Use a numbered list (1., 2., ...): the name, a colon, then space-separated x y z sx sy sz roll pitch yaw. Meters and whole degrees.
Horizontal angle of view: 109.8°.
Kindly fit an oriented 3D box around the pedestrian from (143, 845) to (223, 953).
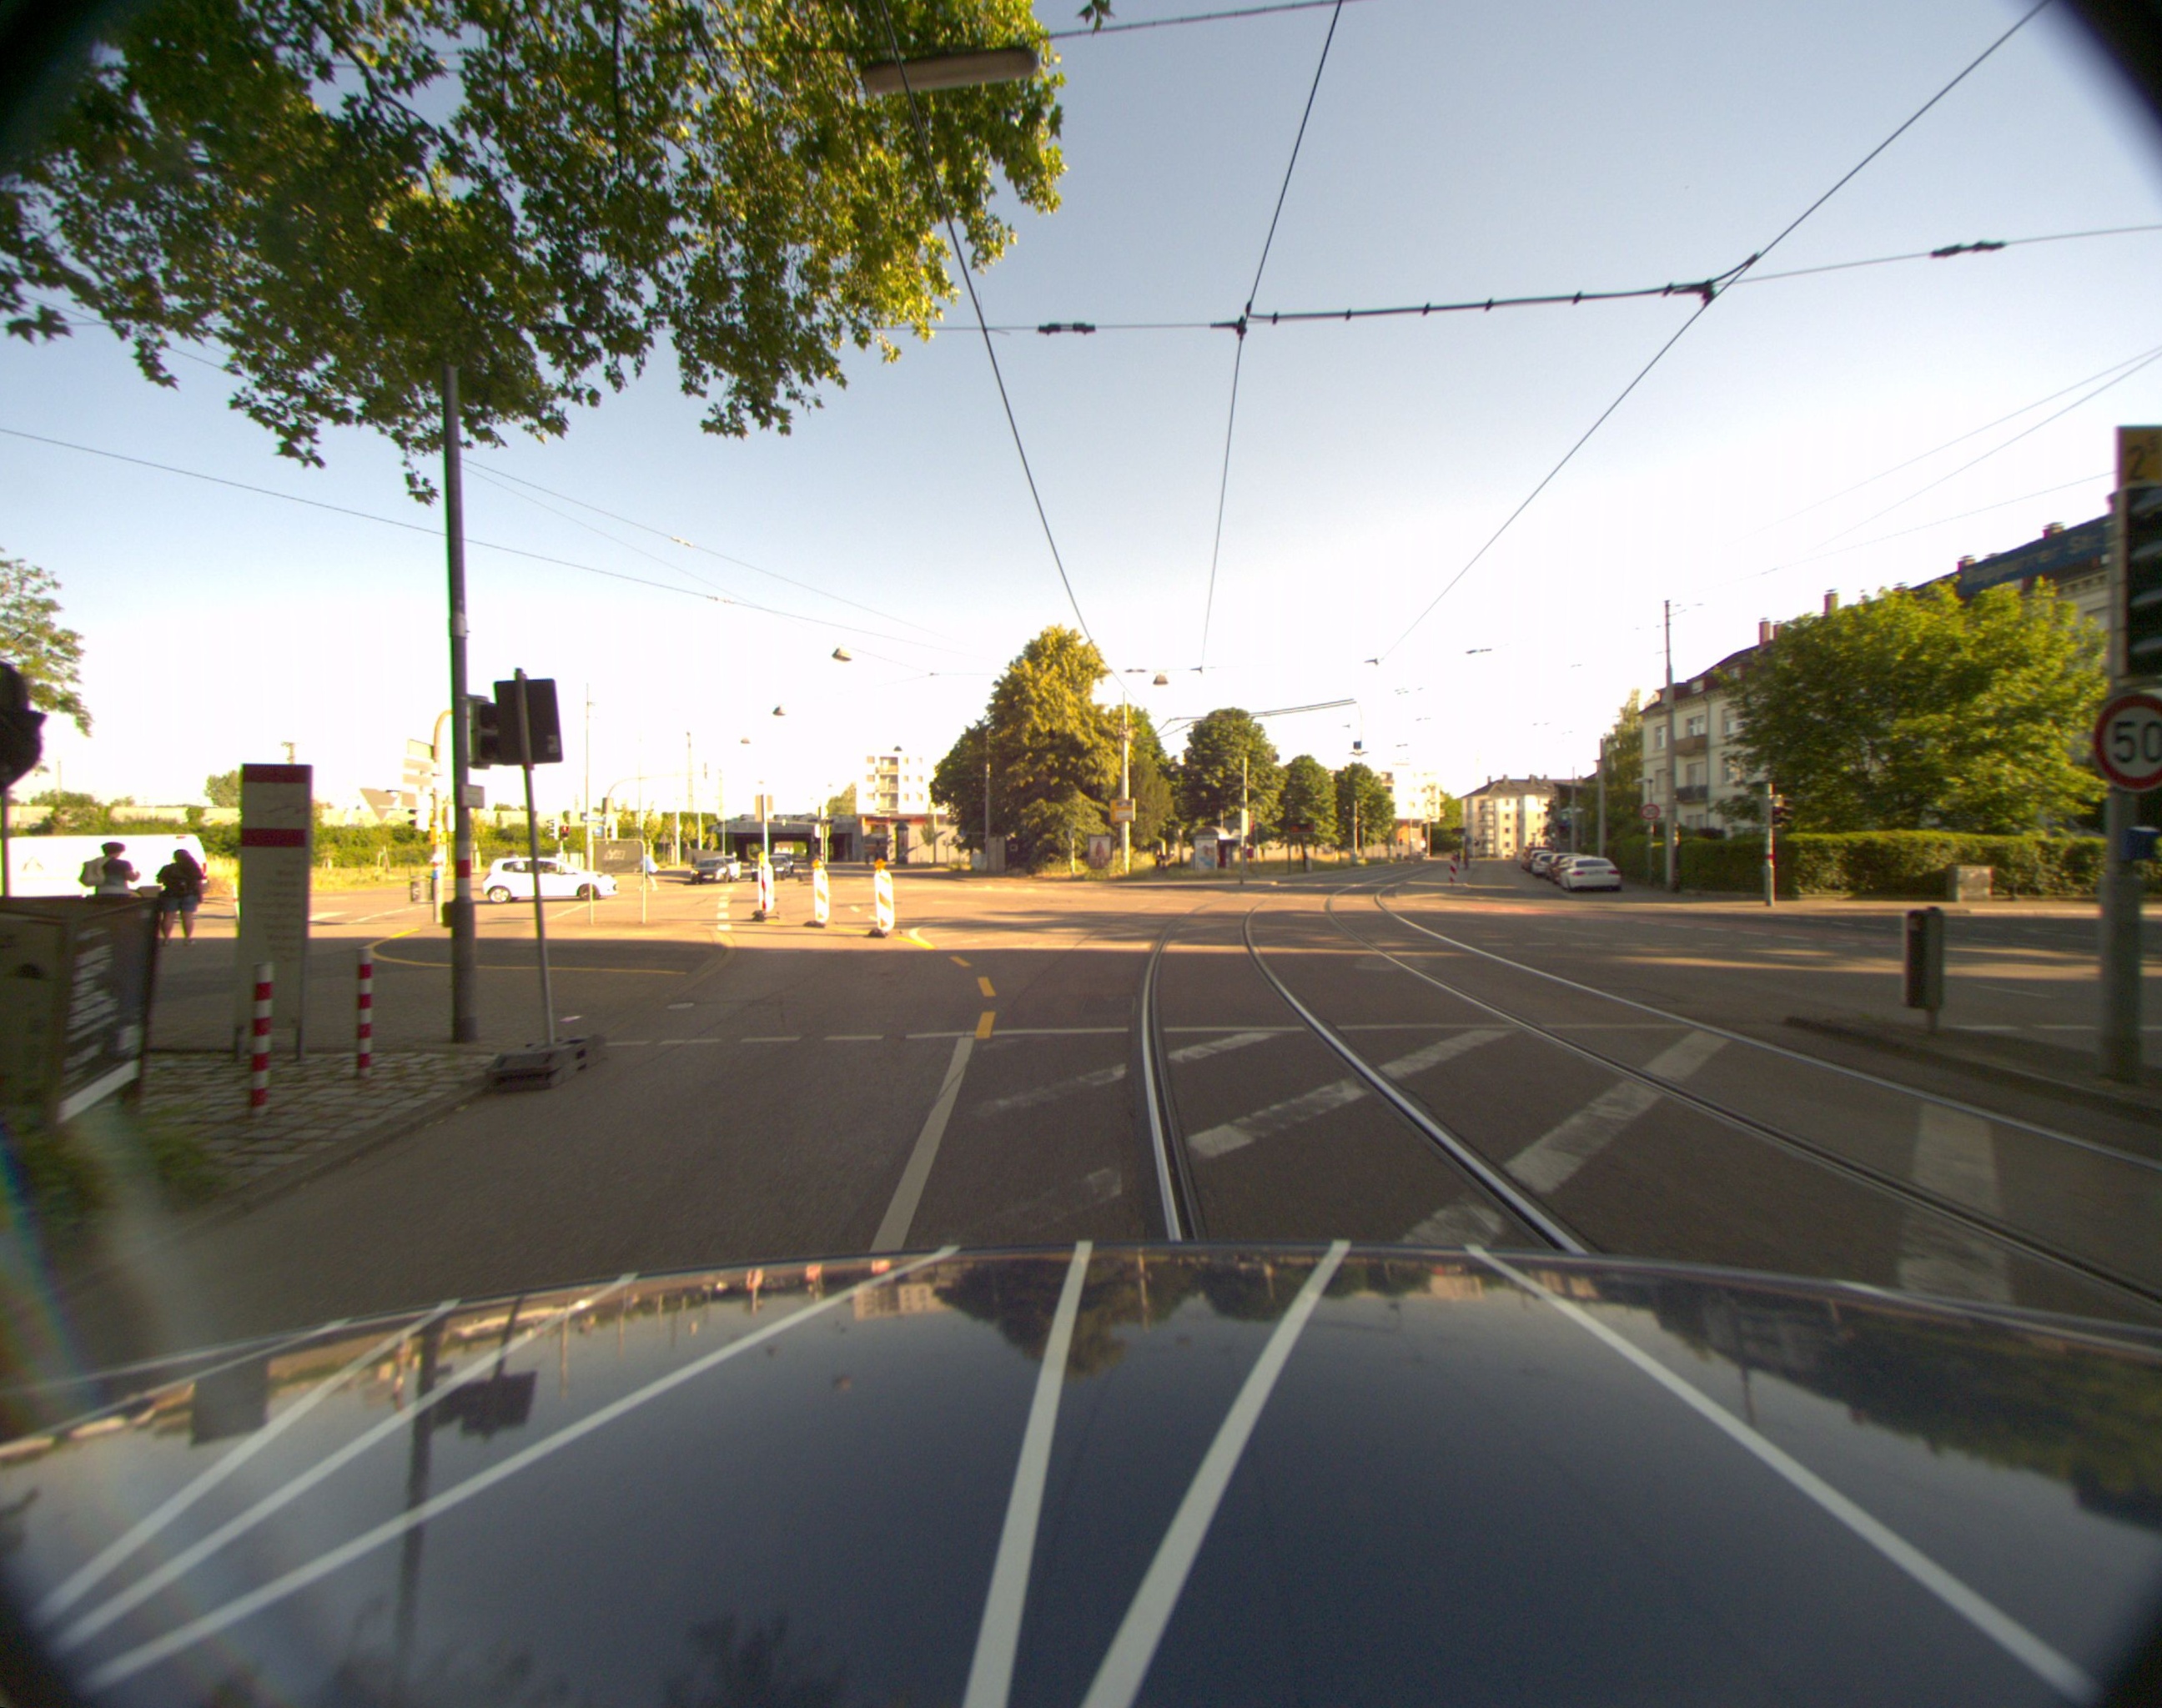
1. pedestrian: -15.027 0.717 12.736 0.694 1.740 0.792 -2 2 -40

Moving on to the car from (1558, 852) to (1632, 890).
1. car: 21.212 0.656 31.535 1.926 1.368 4.505 -2 0 27

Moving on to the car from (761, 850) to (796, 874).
1. car: -20.879 0.508 52.536 2.002 1.558 4.448 -1 1 -19

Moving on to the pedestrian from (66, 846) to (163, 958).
1. pedestrian: -15.614 0.737 12.300 0.694 1.740 0.793 -1 2 -32

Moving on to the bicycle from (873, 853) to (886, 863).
1. bicycle: -21.816 0.465 82.265 0.665 1.063 2.014 -1 1 -34

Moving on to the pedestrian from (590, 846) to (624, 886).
1. pedestrian: -21.163 0.535 33.915 1.068 1.737 0.913 -1 1 -18

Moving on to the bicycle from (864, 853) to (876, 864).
1. bicycle: -22.600 0.475 81.532 0.665 1.063 2.014 -1 1 -33

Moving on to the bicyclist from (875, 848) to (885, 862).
1. bicyclist: -21.729 0.092 82.078 0.662 1.523 1.034 -1 1 -33

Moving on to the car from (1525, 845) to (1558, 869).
1. car: 34.261 0.178 56.590 1.840 1.658 4.378 -2 0 28

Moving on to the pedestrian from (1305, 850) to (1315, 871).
1. pedestrian: 15.924 0.449 52.789 0.596 1.419 0.506 0 1 21

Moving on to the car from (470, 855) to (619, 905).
1. car: -17.501 0.814 25.027 3.781 1.460 1.702 -1 1 -27

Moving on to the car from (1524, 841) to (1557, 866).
1. car: 37.538 -0.076 62.163 2.051 1.950 5.160 -2 0 28

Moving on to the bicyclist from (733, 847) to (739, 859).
1. bicyclist: -47.536 -0.121 104.678 0.778 1.596 0.856 0 0 -23

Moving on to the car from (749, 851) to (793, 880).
1. car: -18.215 0.616 44.790 2.055 1.558 4.443 -1 1 -18

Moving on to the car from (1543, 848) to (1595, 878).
1. car: 26.546 0.438 41.460 1.982 1.439 4.714 -2 0 28

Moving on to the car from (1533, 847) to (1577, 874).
1. car: 28.428 0.380 45.652 1.982 1.439 3.726 -2 0 28

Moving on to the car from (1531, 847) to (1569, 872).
1. car: 30.621 0.346 49.727 1.840 1.439 3.966 -2 0 28

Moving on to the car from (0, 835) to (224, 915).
1. car: -33.303 0.629 25.467 5.567 2.423 2.231 -1 4 -23

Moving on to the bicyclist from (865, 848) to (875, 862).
1. bicyclist: -22.642 0.109 81.569 0.699 1.523 1.034 -1 1 -33

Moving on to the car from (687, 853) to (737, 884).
1. car: -20.719 0.759 42.825 2.002 1.558 4.267 -2 1 -19

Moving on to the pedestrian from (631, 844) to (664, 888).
1. pedestrian: -19.202 0.504 33.678 1.068 1.914 0.913 -1 1 -18

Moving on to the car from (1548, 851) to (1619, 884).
1. car: 23.758 0.587 36.093 1.982 1.368 4.713 -2 0 23

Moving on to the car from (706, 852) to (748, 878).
1. car: -22.877 0.652 49.260 2.002 1.558 4.267 -1 1 -19

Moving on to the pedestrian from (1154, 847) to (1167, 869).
1. pedestrian: 5.370 0.244 51.351 0.671 1.484 0.849 0 1 -5

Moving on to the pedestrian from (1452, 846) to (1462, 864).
1. pedestrian: 31.137 0.073 62.952 0.566 1.492 0.680 0 1 41
